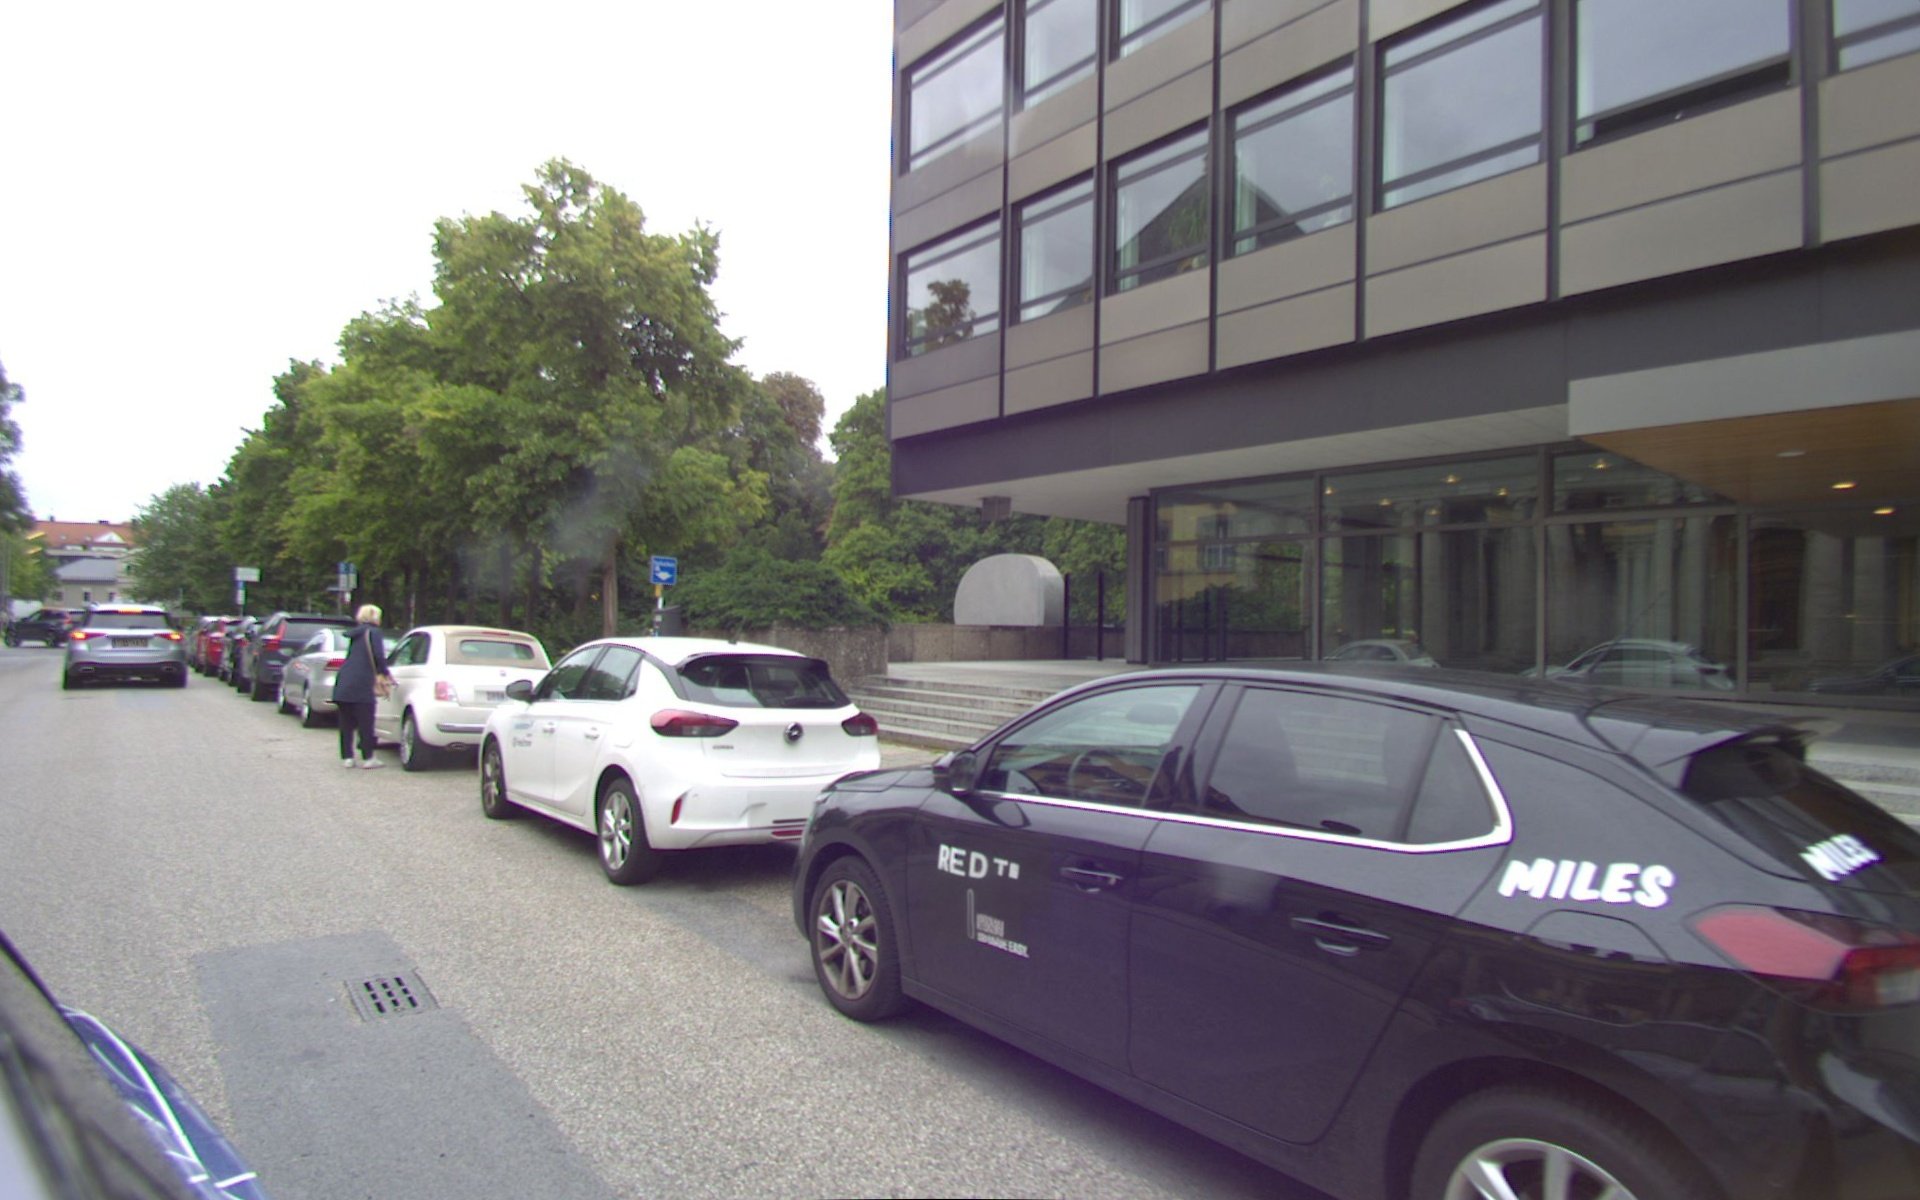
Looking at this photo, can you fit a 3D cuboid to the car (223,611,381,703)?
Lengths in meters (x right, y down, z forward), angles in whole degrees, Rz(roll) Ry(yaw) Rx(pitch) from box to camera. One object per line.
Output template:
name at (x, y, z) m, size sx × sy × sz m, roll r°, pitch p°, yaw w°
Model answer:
car at (-13.081, 1.066, 20.002) m, size 1.969 × 1.595 × 4.528 m, roll 3°, pitch -3°, yaw -41°

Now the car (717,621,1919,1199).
car at (0.936, 0.858, 3.480) m, size 1.718 × 1.472 × 4.244 m, roll 5°, pitch -4°, yaw -39°

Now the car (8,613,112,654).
car at (-41.141, 1.521, 46.229) m, size 4.889 × 1.694 × 1.948 m, roll 0°, pitch -3°, yaw 28°

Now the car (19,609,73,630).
car at (-120.029, 2.549, 132.940) m, size 4.921 × 2.554 × 2.571 m, roll -1°, pitch 1°, yaw 3°

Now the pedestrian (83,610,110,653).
pedestrian at (-36.212, 1.322, 42.439) m, size 0.786 × 1.744 × 0.661 m, roll -1°, pitch 1°, yaw -42°

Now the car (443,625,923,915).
car at (-2.270, 0.969, 7.375) m, size 1.660 × 1.451 × 4.286 m, roll 6°, pitch -4°, yaw -40°

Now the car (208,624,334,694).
car at (-16.307, 1.326, 23.853) m, size 1.968 × 1.472 × 4.655 m, roll 3°, pitch -3°, yaw -40°

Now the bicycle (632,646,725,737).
bicycle at (-4.024, 1.265, 14.406) m, size 0.635 × 1.173 × 1.529 m, roll -1°, pitch 0°, yaw -42°

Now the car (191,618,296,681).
car at (-19.659, 1.315, 27.703) m, size 1.968 × 1.555 × 4.371 m, roll 3°, pitch -3°, yaw -40°

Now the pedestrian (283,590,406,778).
pedestrian at (-6.106, 0.823, 10.100) m, size 0.679 × 1.765 × 0.895 m, roll 3°, pitch -4°, yaw -11°

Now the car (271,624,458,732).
car at (-9.213, 1.134, 15.491) m, size 1.736 × 1.411 × 4.224 m, roll 6°, pitch -5°, yaw -39°

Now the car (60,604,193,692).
car at (-18.120, 1.008, 22.063) m, size 1.999 × 1.702 × 4.685 m, roll 3°, pitch -3°, yaw -39°

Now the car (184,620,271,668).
car at (-24.017, 1.405, 33.120) m, size 1.968 × 1.472 × 4.371 m, roll 3°, pitch -3°, yaw -40°

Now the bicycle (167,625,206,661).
bicycle at (-28.898, 1.609, 37.830) m, size 0.566 × 1.292 × 1.421 m, roll 0°, pitch -1°, yaw -9°

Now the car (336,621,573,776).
car at (-5.895, 1.020, 11.615) m, size 1.524 × 1.482 × 3.558 m, roll 4°, pitch -4°, yaw -41°

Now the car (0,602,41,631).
car at (-79.052, 1.333, 85.157) m, size 4.732 × 2.319 × 2.205 m, roll 0°, pitch 1°, yaw 44°
